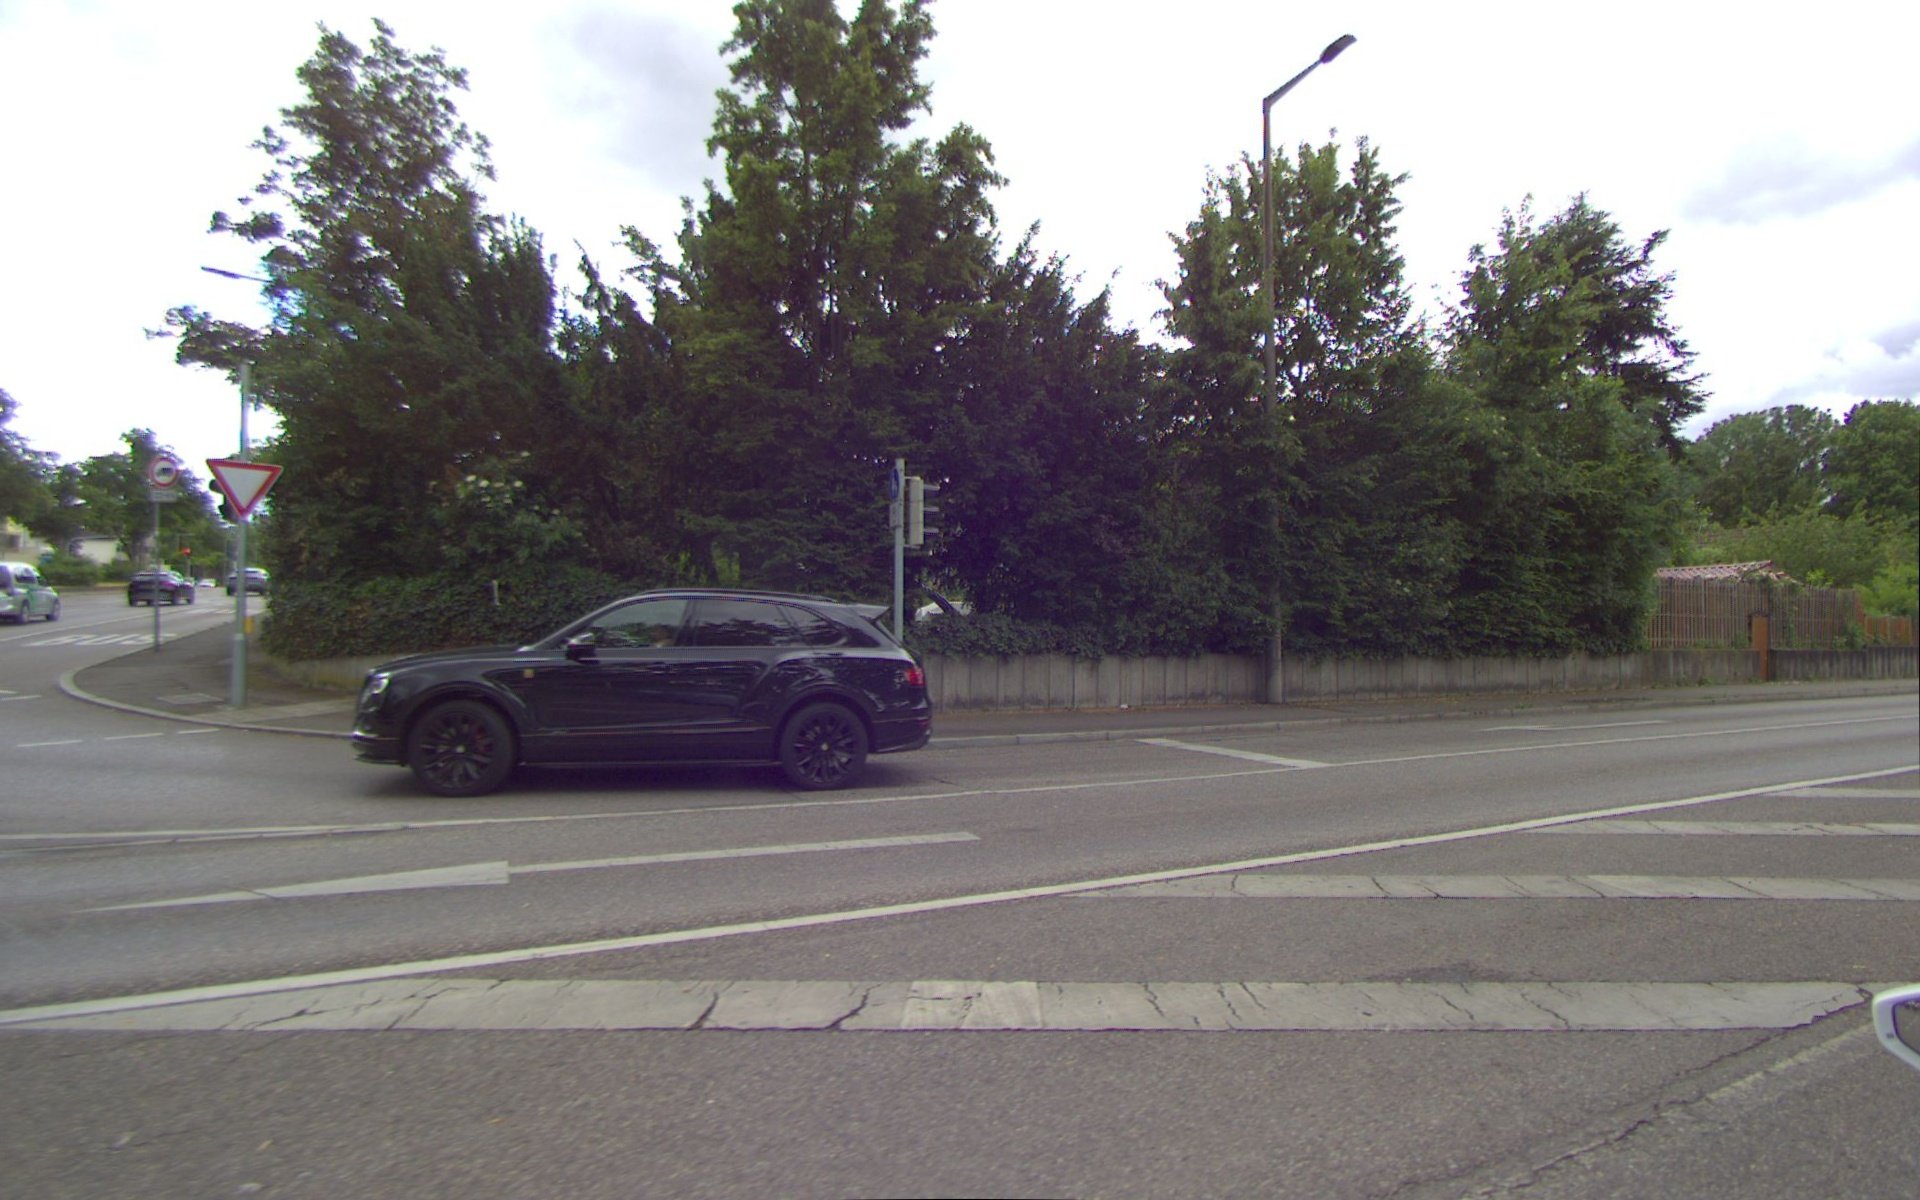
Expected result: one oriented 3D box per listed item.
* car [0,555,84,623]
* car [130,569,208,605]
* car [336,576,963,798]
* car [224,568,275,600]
[{"bbox_3d":[-28.277,-0.282,30.005,1.923,1.898,4.513,2,-1,-25],"label":"car"},{"bbox_3d":[-36.126,-0.549,45.995,1.924,1.442,4.510,2,-2,-27],"label":"car"},{"bbox_3d":[-2.643,0.762,9.362,4.998,1.701,1.902,2,-2,-17],"label":"car"},{"bbox_3d":[-45.231,-0.974,64.017,1.925,1.835,4.413,2,-1,-27],"label":"car"}]
